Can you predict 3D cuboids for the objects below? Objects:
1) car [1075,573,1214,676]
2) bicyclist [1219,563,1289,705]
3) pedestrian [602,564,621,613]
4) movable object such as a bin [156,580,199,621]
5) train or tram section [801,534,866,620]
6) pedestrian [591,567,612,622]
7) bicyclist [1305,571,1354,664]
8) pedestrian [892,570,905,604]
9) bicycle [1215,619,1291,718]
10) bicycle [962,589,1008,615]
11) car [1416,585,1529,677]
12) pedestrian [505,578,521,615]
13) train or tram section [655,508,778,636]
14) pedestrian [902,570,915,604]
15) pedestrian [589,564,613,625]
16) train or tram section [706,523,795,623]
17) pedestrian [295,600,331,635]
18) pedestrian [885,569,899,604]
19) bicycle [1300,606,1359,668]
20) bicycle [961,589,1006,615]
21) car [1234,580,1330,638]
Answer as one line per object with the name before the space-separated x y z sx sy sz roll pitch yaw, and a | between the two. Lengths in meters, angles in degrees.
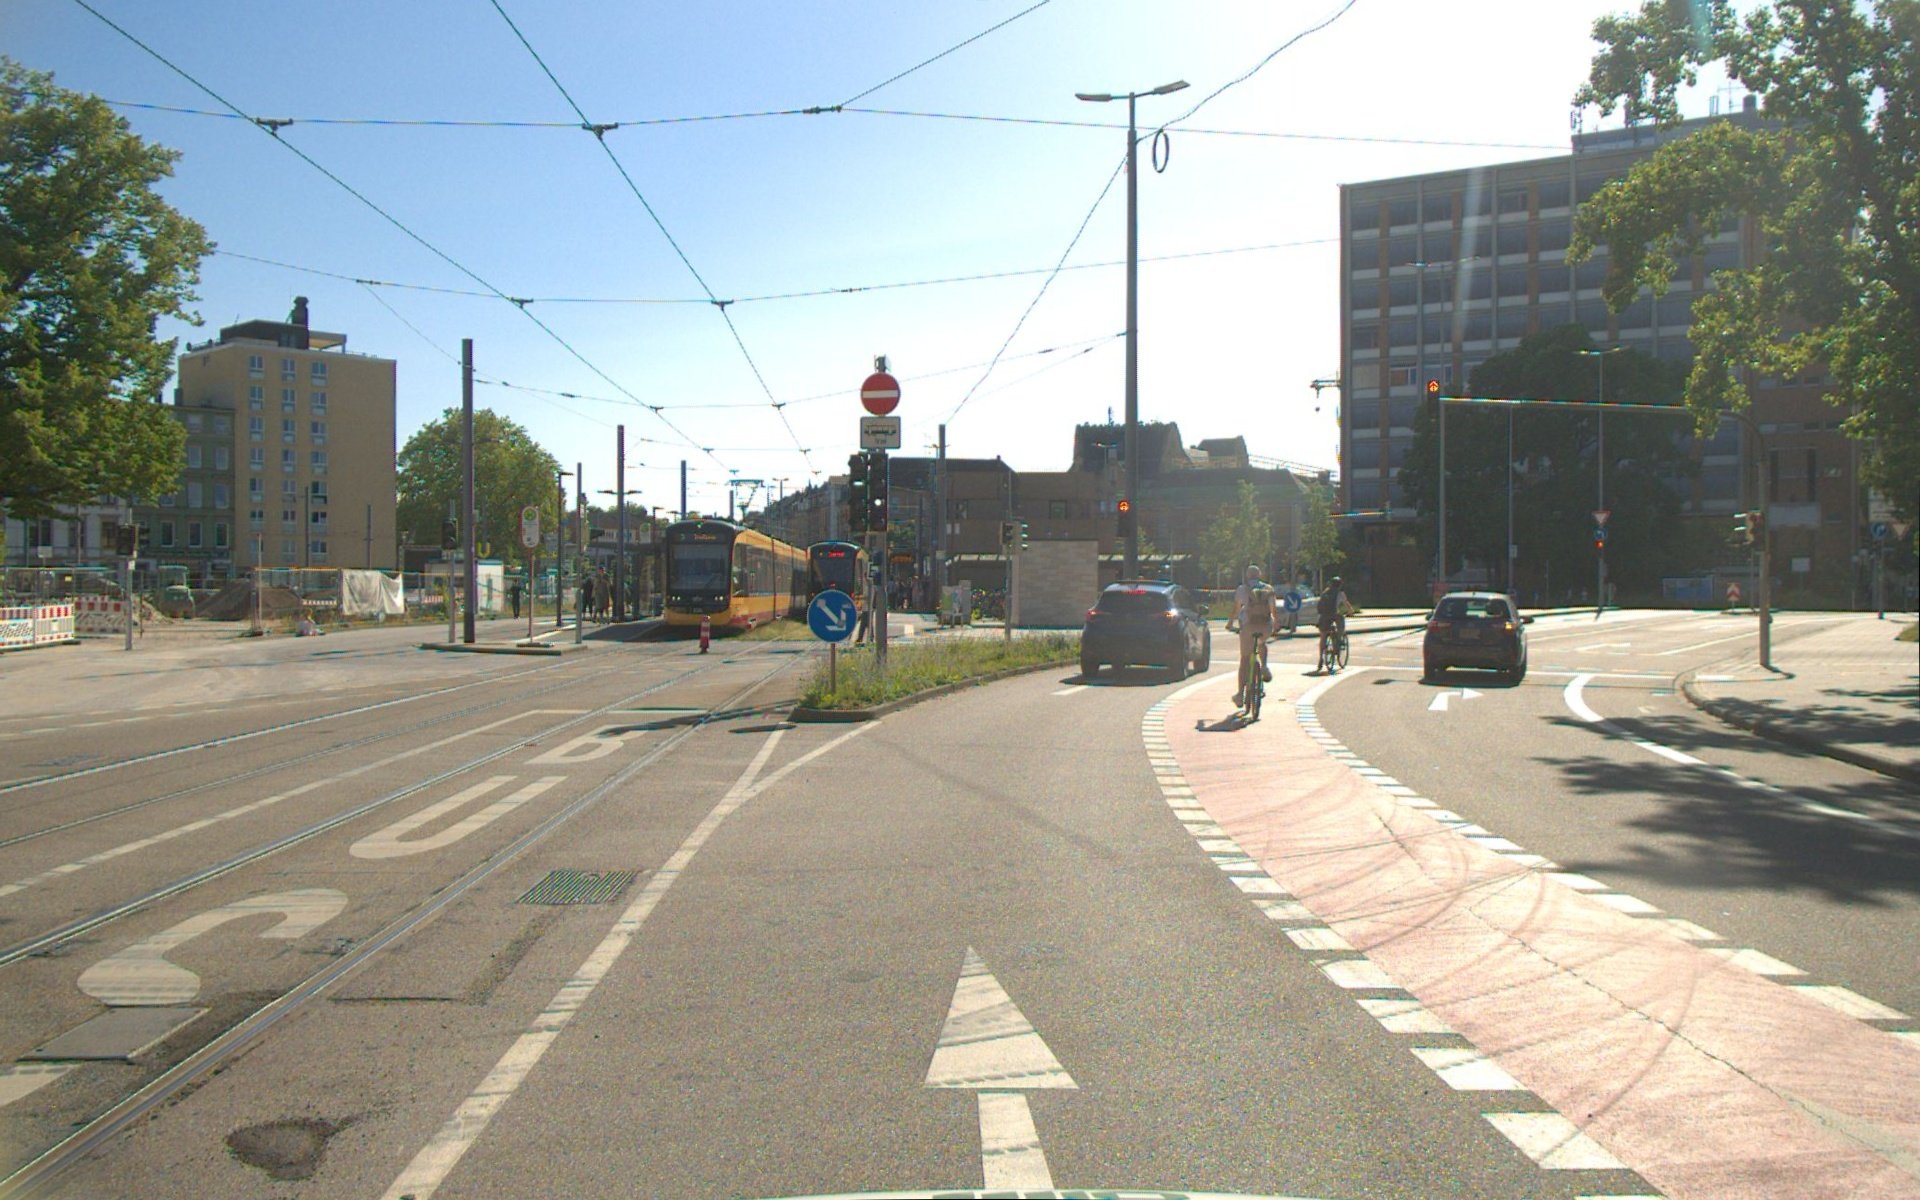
car | 3.277 0.375 28.819 1.751 1.632 3.715 1 1 16
bicyclist | 3.676 0.404 20.624 0.690 1.704 1.102 2 1 17
pedestrian | -13.105 -0.436 62.210 0.614 1.859 0.662 0 0 -3
movable object such as a bin | -39.843 -0.002 84.240 1.893 2.049 3.969 0 0 -25
train or tram section | -5.890 -1.105 78.576 2.687 3.715 13.778 0 1 -3
pedestrian | -12.209 -0.194 56.354 0.614 1.859 0.662 0 0 -3
bicyclist | 7.059 0.315 31.590 0.690 1.730 0.987 2 1 22
pedestrian | -3.540 -0.758 95.457 0.649 1.987 0.626 0 0 -14
bicycle | 3.680 0.831 20.674 0.690 1.124 1.718 2 1 17
bicycle | 1.064 0.084 70.688 1.896 1.122 0.598 0 1 -5
car | 9.424 0.518 30.267 1.752 1.537 3.713 1 1 20
pedestrian | -21.020 -0.151 77.795 0.614 1.727 0.662 0 0 -3
train or tram section | -7.853 -0.915 55.076 2.687 3.715 13.778 0 1 -3
pedestrian | -3.013 -0.757 96.090 0.649 1.987 0.626 0 0 -14
pedestrian | -10.996 -0.173 50.707 0.614 1.859 0.662 0 0 -3
train or tram section | -8.471 -1.107 68.200 2.687 3.715 12.537 0 1 -3
pedestrian | -20.388 0.550 52.124 0.879 1.064 0.655 0 0 -2
pedestrian | -3.845 -0.755 93.773 0.649 1.987 0.626 0 0 -14
bicycle | 7.106 0.683 31.738 0.690 1.073 2.313 2 2 22
bicycle | 1.015 0.082 71.456 1.896 1.122 0.598 0 1 -5
car | 10.014 0.258 51.253 1.671 1.672 3.702 1 1 33
